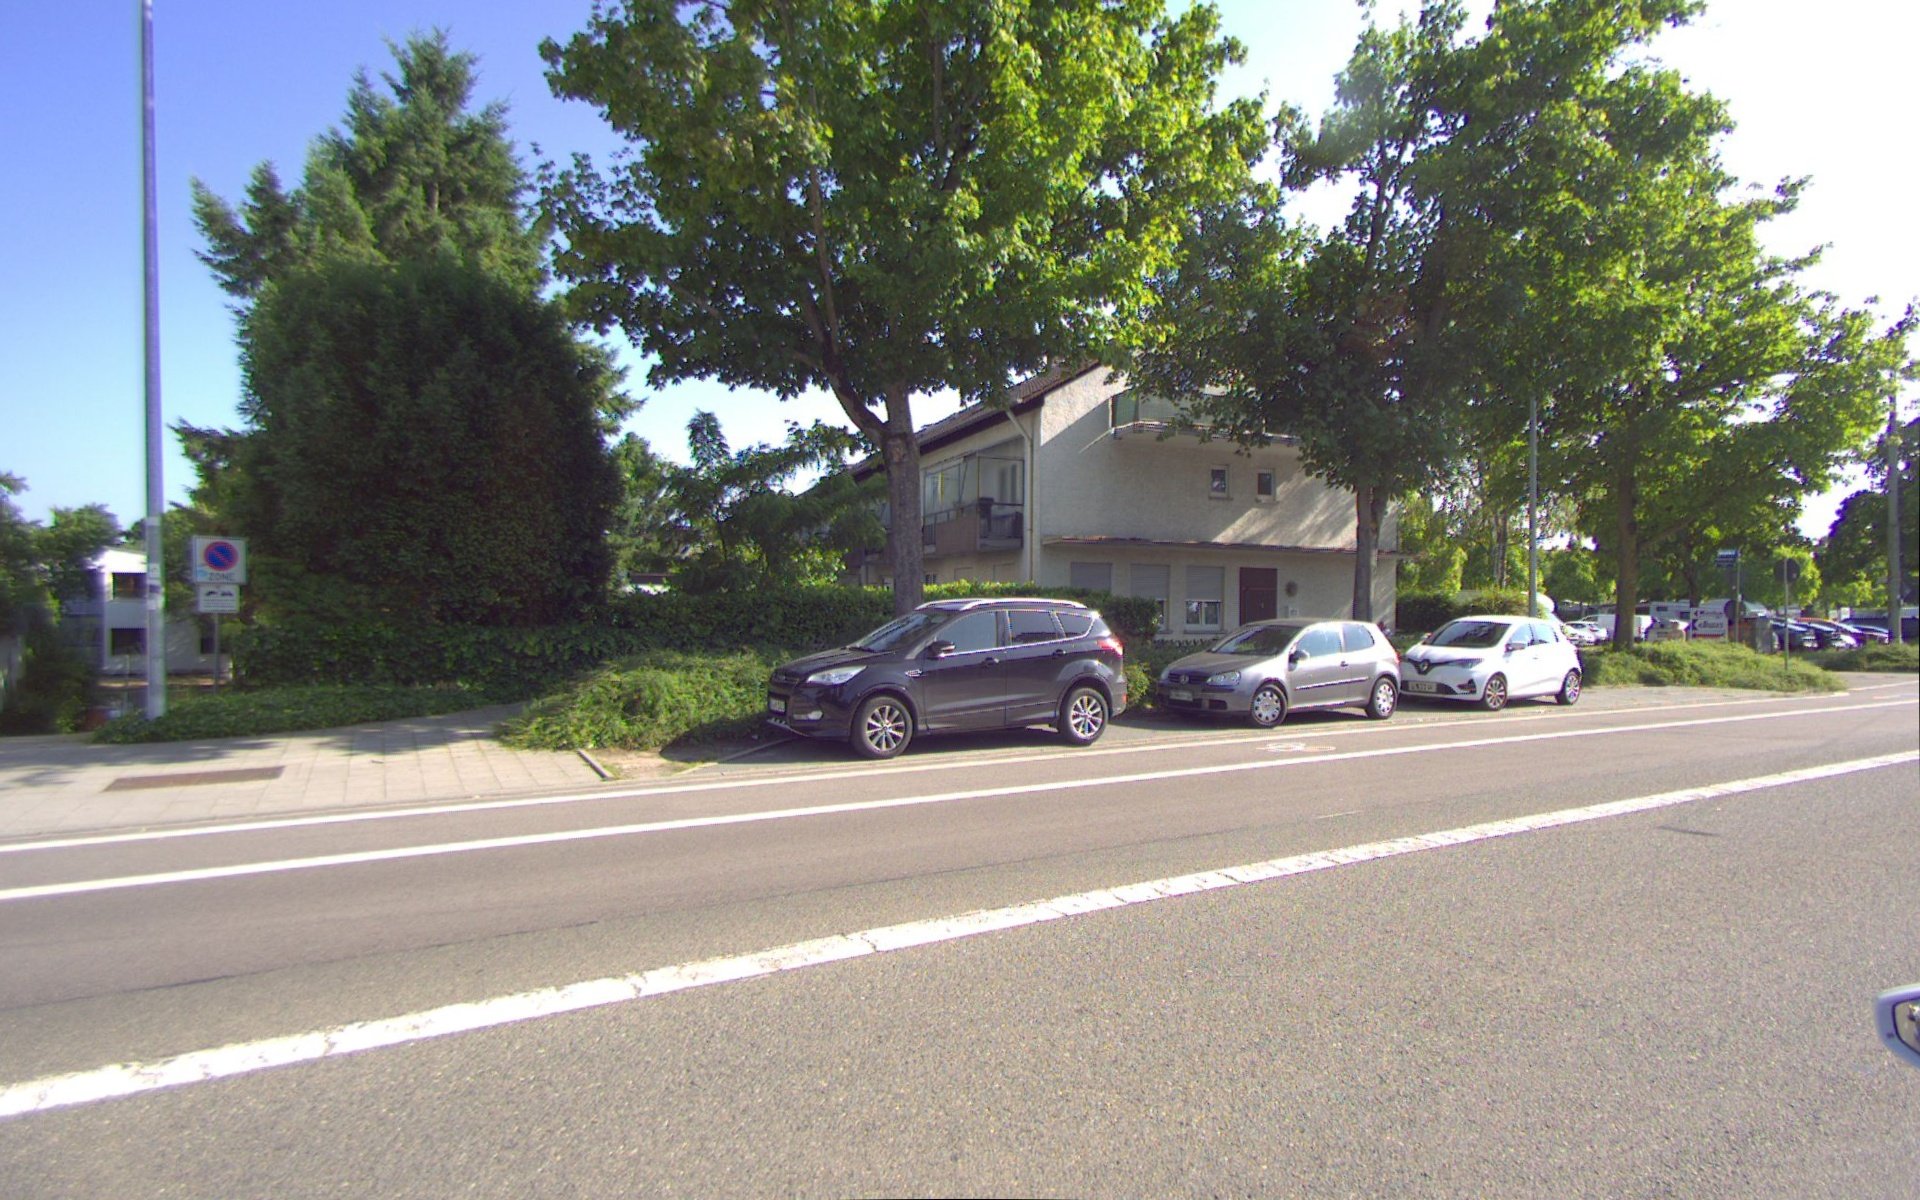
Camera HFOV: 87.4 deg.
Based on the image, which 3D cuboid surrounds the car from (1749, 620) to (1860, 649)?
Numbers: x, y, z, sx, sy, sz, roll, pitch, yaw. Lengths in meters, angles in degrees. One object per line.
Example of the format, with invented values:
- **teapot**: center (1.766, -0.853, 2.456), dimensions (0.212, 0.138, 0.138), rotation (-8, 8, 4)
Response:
- **car**: center (42.036, 1.686, 50.081), dimensions (1.719, 1.324, 3.964), rotation (1, -1, -33)

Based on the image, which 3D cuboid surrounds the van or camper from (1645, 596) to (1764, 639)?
- **van or camper**: center (52.934, 1.197, 71.581), dimensions (2.279, 2.906, 6.435), rotation (1, 0, -29)

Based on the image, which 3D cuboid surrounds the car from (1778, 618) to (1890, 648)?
- **car**: center (44.141, 1.623, 50.802), dimensions (1.719, 1.416, 3.964), rotation (1, -1, -33)

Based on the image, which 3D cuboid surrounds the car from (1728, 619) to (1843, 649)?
- **car**: center (39.534, 1.589, 48.164), dimensions (1.719, 1.324, 3.964), rotation (1, -1, -33)

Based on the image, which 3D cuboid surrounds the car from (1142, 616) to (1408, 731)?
- **car**: center (4.726, 0.993, 14.933), dimensions (3.925, 1.488, 1.667), rotation (1, 0, -33)

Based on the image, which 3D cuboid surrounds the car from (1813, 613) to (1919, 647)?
- **car**: center (48.688, 1.564, 53.516), dimensions (2.026, 1.673, 4.593), rotation (1, -1, -32)

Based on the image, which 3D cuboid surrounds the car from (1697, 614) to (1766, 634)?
- **car**: center (55.849, 1.711, 72.775), dimensions (1.719, 1.416, 3.642), rotation (1, -1, -33)

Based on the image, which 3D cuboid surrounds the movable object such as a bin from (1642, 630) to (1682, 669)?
- **movable object such as a bin**: center (21.723, 1.530, 31.085), dimensions (1.246, 1.161, 0.539), rotation (1, -1, -31)

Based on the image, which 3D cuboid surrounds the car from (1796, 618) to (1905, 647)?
- **car**: center (46.523, 1.659, 52.550), dimensions (1.719, 1.416, 3.964), rotation (1, -1, -33)

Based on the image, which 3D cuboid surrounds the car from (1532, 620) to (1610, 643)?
- **car**: center (38.176, 1.928, 62.871), dimensions (1.604, 1.379, 3.976), rotation (1, -1, -25)

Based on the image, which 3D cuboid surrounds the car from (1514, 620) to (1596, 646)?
- **car**: center (36.098, 1.978, 61.015), dimensions (1.719, 1.477, 3.964), rotation (1, -1, -33)

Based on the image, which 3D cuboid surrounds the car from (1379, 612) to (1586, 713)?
- **car**: center (9.332, 1.032, 17.865), dimensions (3.853, 1.571, 1.591), rotation (1, 1, -34)

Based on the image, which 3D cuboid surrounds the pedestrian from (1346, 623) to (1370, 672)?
- **pedestrian**: center (9.733, 1.148, 24.583), dimensions (0.440, 1.177, 0.345), rotation (0, 0, -23)

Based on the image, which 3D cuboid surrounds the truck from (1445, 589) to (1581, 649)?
- **truck**: center (31.931, 1.086, 58.306), dimensions (1.965, 3.285, 6.925), rotation (1, -1, -31)

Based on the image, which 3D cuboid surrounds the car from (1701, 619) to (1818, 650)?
- **car**: center (37.205, 1.573, 46.825), dimensions (1.719, 1.324, 3.964), rotation (1, -1, -33)

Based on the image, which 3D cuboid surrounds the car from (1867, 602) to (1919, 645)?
- **car**: center (55.621, 1.365, 57.338), dimensions (2.063, 2.456, 5.351), rotation (1, -1, -30)

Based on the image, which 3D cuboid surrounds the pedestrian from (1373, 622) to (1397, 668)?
- **pedestrian**: center (11.580, 1.231, 27.364), dimensions (0.385, 1.233, 0.444), rotation (0, 0, -22)

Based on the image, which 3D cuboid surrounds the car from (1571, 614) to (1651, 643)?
- **car**: center (40.780, 1.765, 62.975), dimensions (1.611, 1.751, 3.958), rotation (1, -1, -37)

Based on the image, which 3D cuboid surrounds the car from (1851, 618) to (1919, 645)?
- **car**: center (52.464, 1.747, 55.931), dimensions (1.719, 1.416, 3.964), rotation (1, -1, -33)

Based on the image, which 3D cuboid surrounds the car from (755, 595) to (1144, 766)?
- **car**: center (-0.051, 0.827, 11.934), dimensions (4.370, 1.716, 1.704), rotation (1, 0, -30)

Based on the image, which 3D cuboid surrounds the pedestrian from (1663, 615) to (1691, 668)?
- **pedestrian**: center (22.522, 1.292, 31.551), dimensions (0.603, 1.649, 0.522), rotation (0, 0, -30)

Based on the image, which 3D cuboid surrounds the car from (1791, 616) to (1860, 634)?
- **car**: center (70.265, 2.023, 81.582), dimensions (1.719, 1.416, 3.964), rotation (1, -1, -33)
